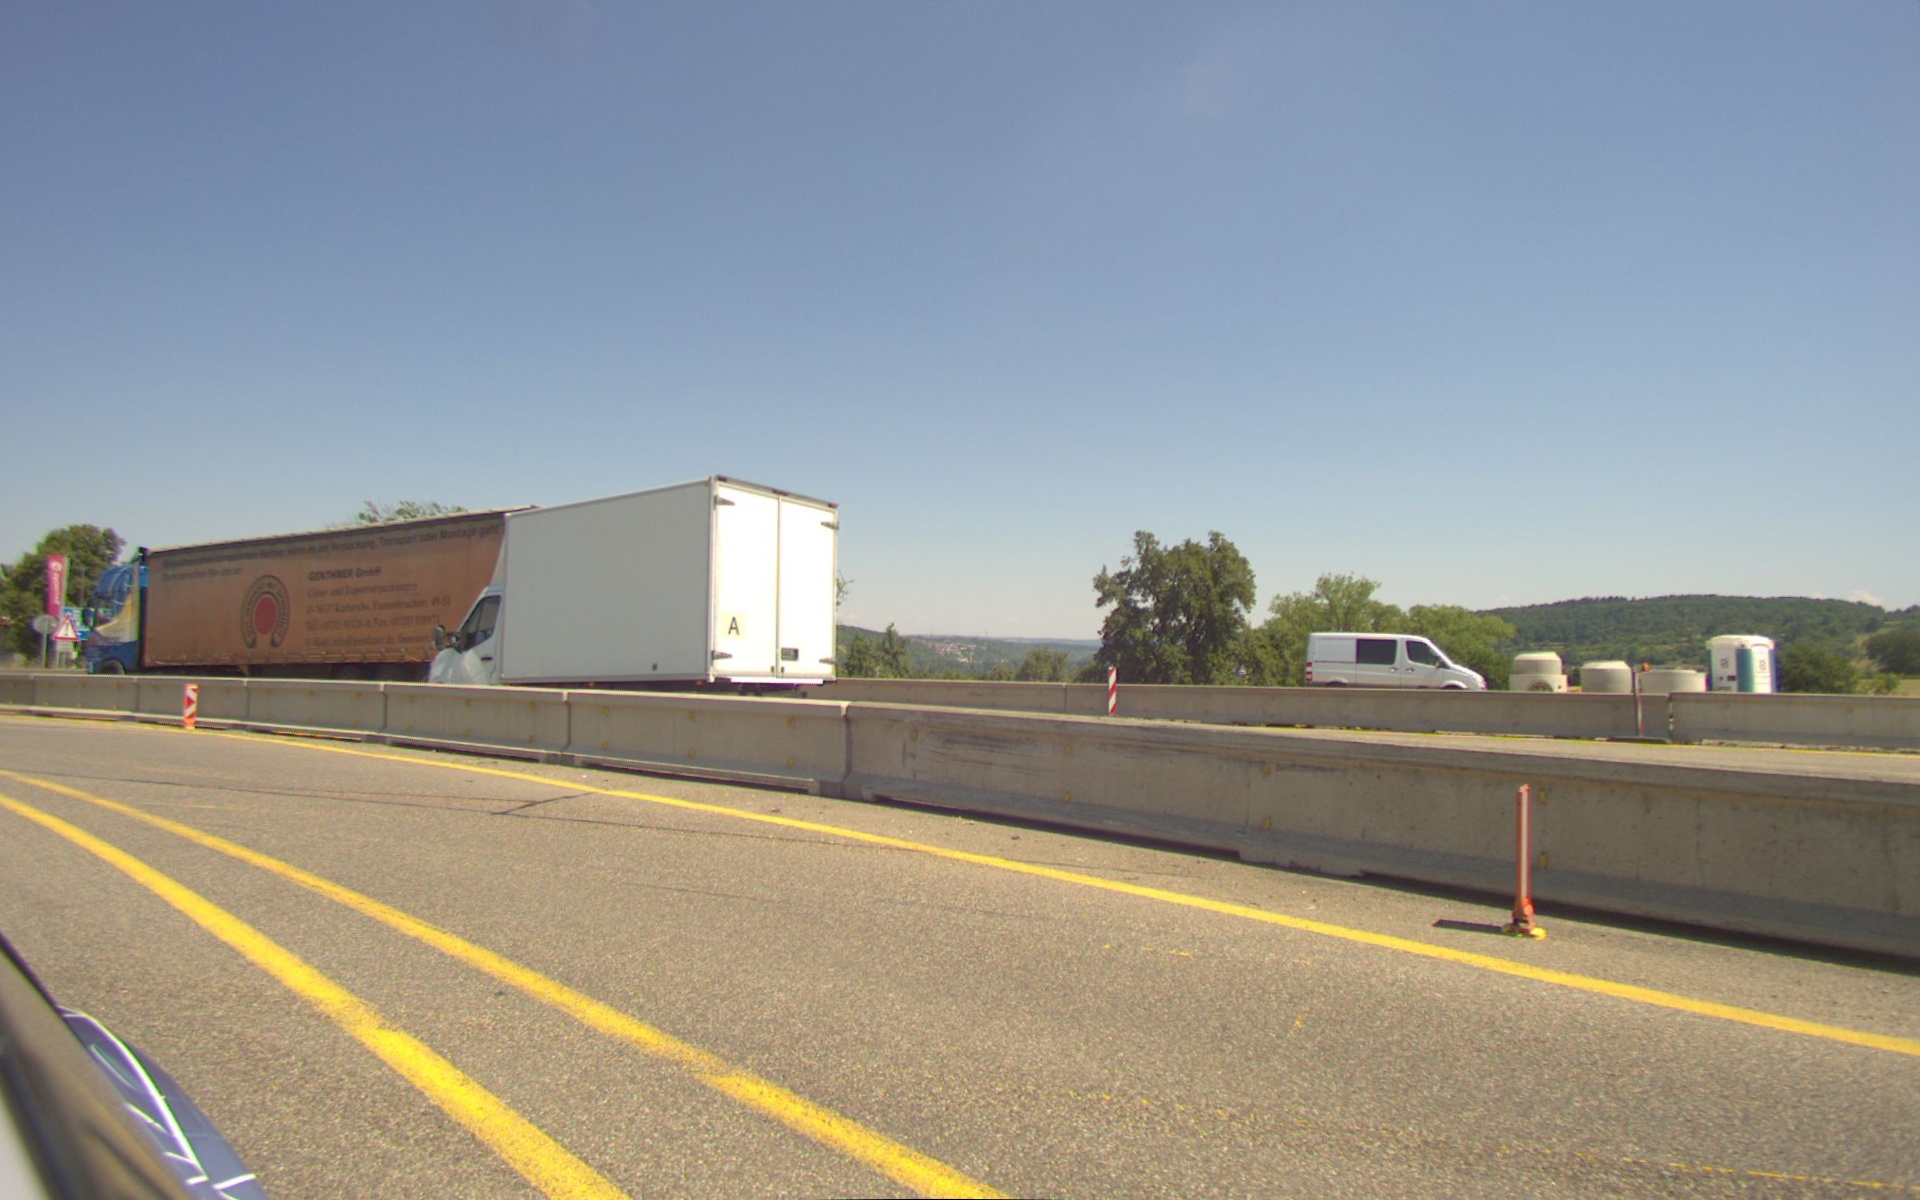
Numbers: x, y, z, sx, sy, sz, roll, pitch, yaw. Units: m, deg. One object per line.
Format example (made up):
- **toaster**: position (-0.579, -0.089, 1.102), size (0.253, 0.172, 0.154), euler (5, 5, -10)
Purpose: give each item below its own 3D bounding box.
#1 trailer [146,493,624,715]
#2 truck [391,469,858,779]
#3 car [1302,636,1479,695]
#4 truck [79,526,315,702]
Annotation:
- **trailer**: position (-13.478, 0.244, 23.054), size (12.994, 4.184, 2.572), euler (-1, -3, 26)
- **truck**: position (-4.890, 0.383, 14.168), size (6.910, 3.407, 2.557), euler (-2, -3, 35)
- **car**: position (13.176, 1.988, 31.214), size (4.853, 1.726, 1.712), euler (-1, -3, 23)
- **truck**: position (-19.624, 0.413, 26.032), size (5.514, 4.112, 2.530), euler (-1, -3, 26)
